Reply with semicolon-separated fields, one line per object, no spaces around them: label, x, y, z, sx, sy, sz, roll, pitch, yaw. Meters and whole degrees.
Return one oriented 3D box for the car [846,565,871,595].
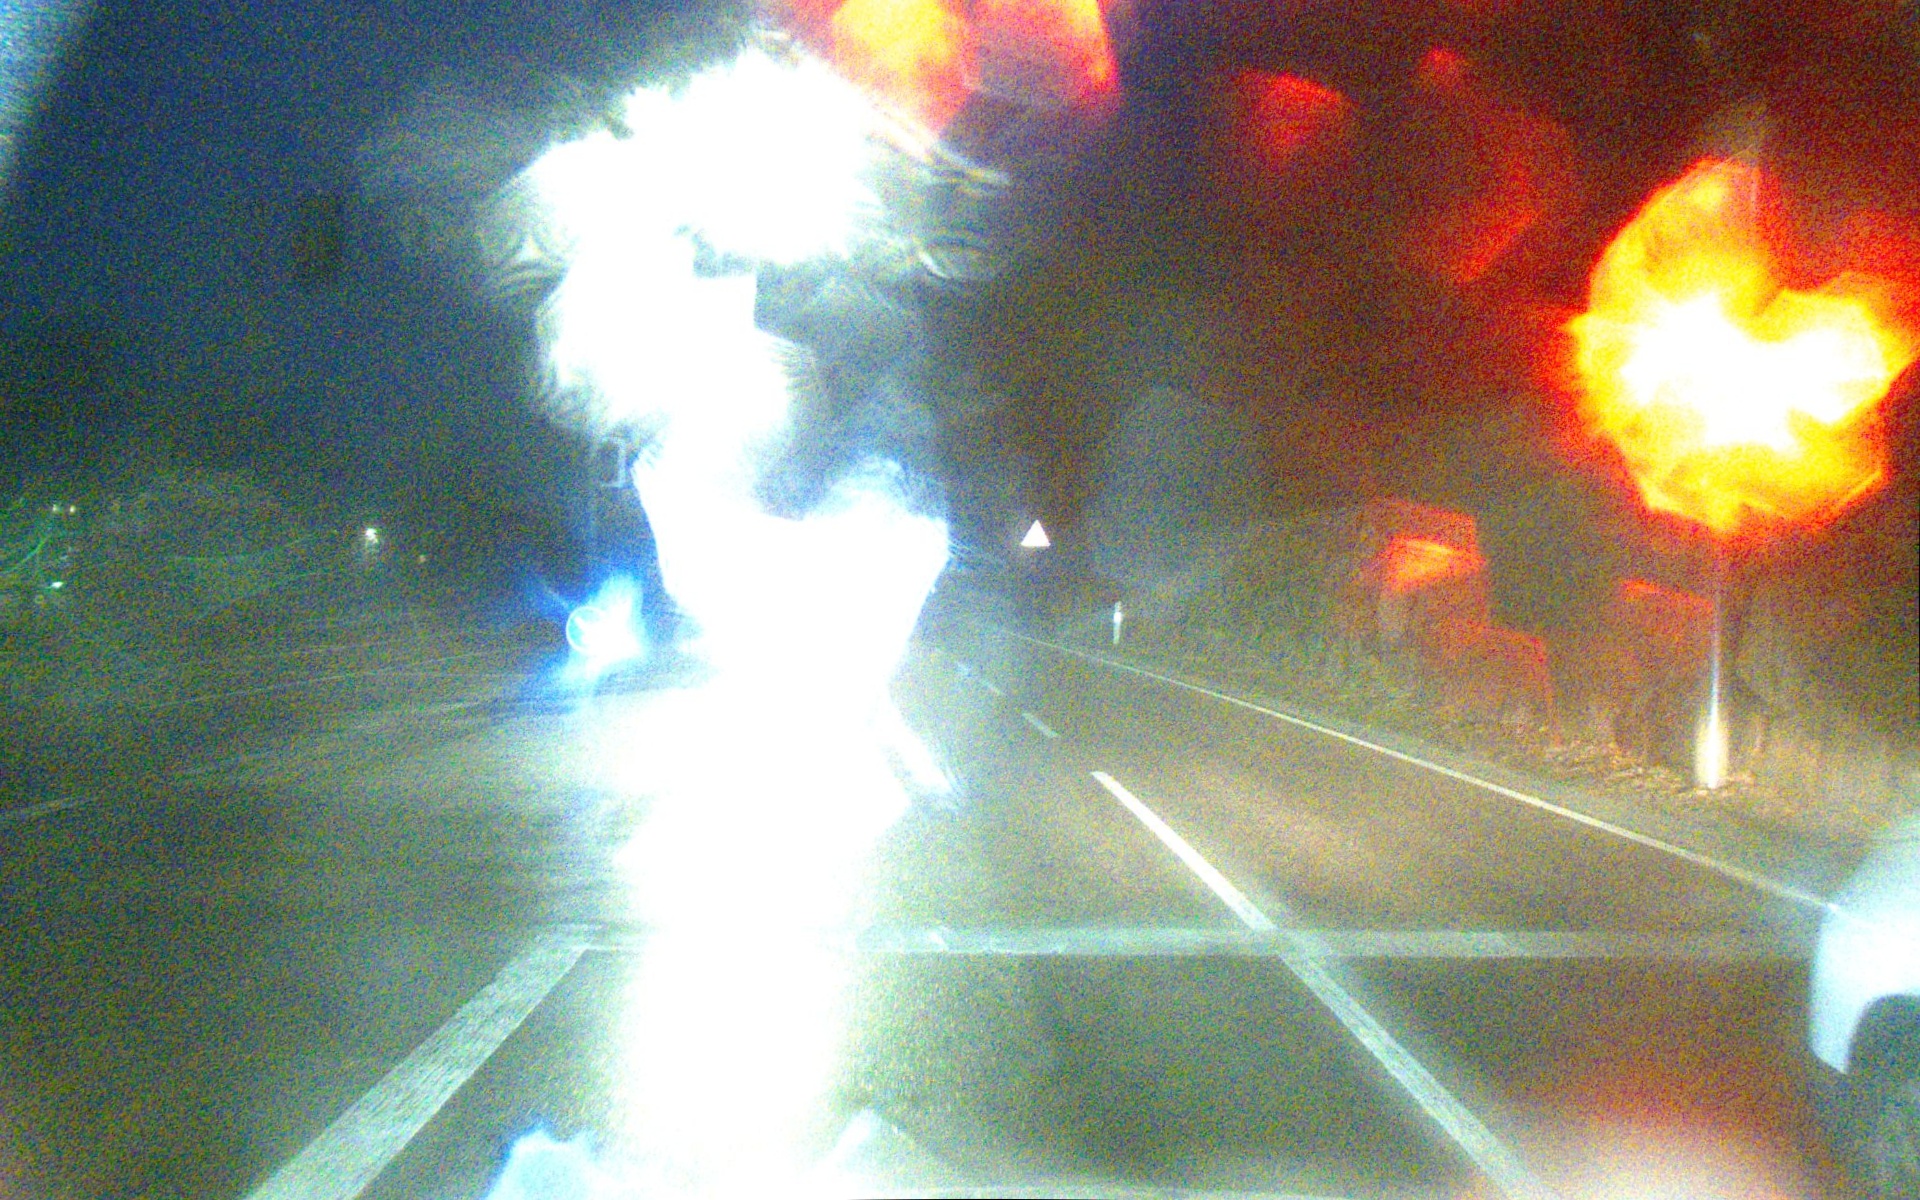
car;-7.344;-1.437;120.315;1.756;2.057;4.577;1;0;-3

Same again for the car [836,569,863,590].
car;-10.818;-1.973;162.263;1.952;1.746;4.002;5;-1;4

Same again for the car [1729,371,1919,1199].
car;2.937;0.571;1.932;1.756;2.057;4.577;1;0;-3
